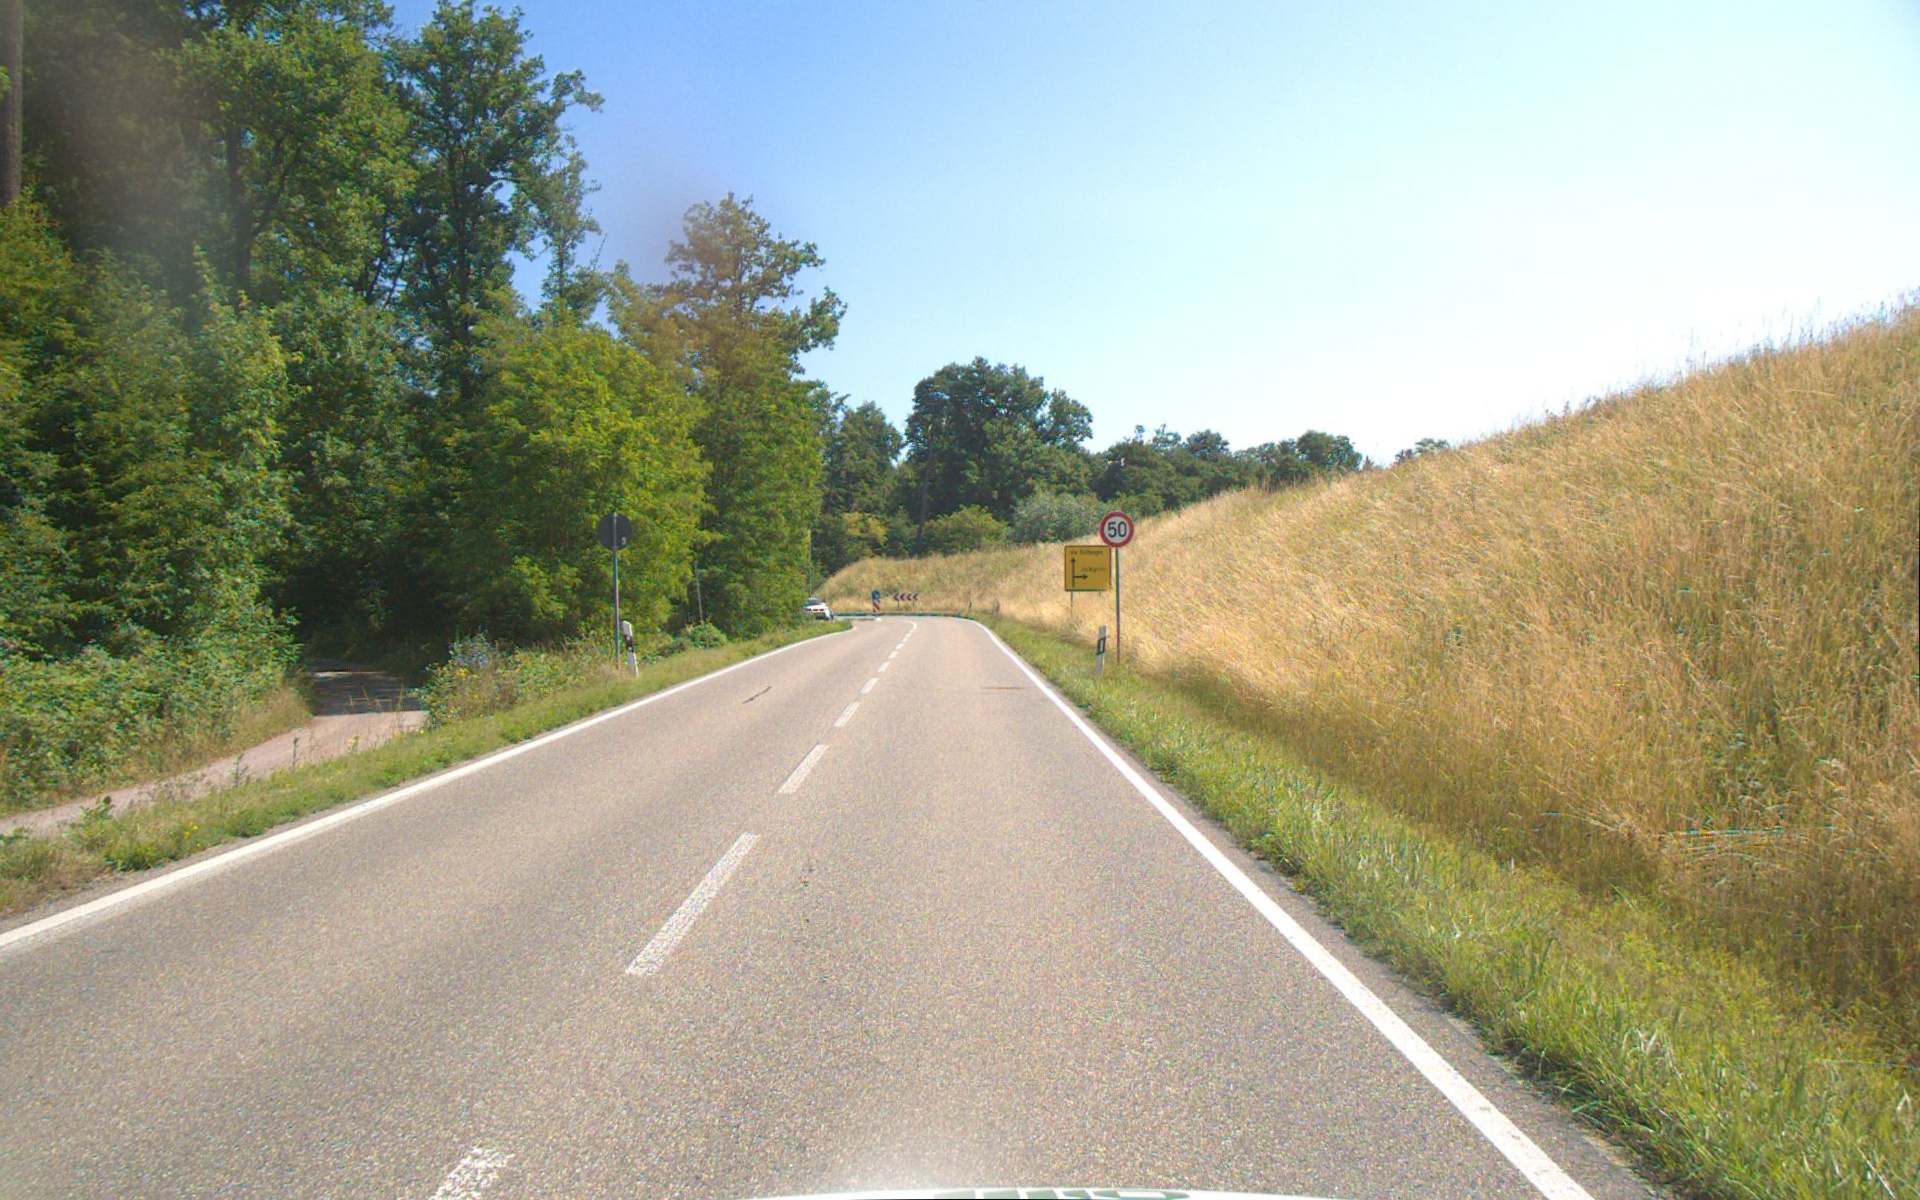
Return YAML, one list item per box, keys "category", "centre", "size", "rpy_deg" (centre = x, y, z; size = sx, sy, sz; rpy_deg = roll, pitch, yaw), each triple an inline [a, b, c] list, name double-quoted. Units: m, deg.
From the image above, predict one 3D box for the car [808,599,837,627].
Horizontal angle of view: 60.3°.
- category: "car"
  centre: [-9.108, 0.853, 109.126]
  size: [1.775, 1.706, 3.995]
  rpy_deg: [-3, 0, -6]
